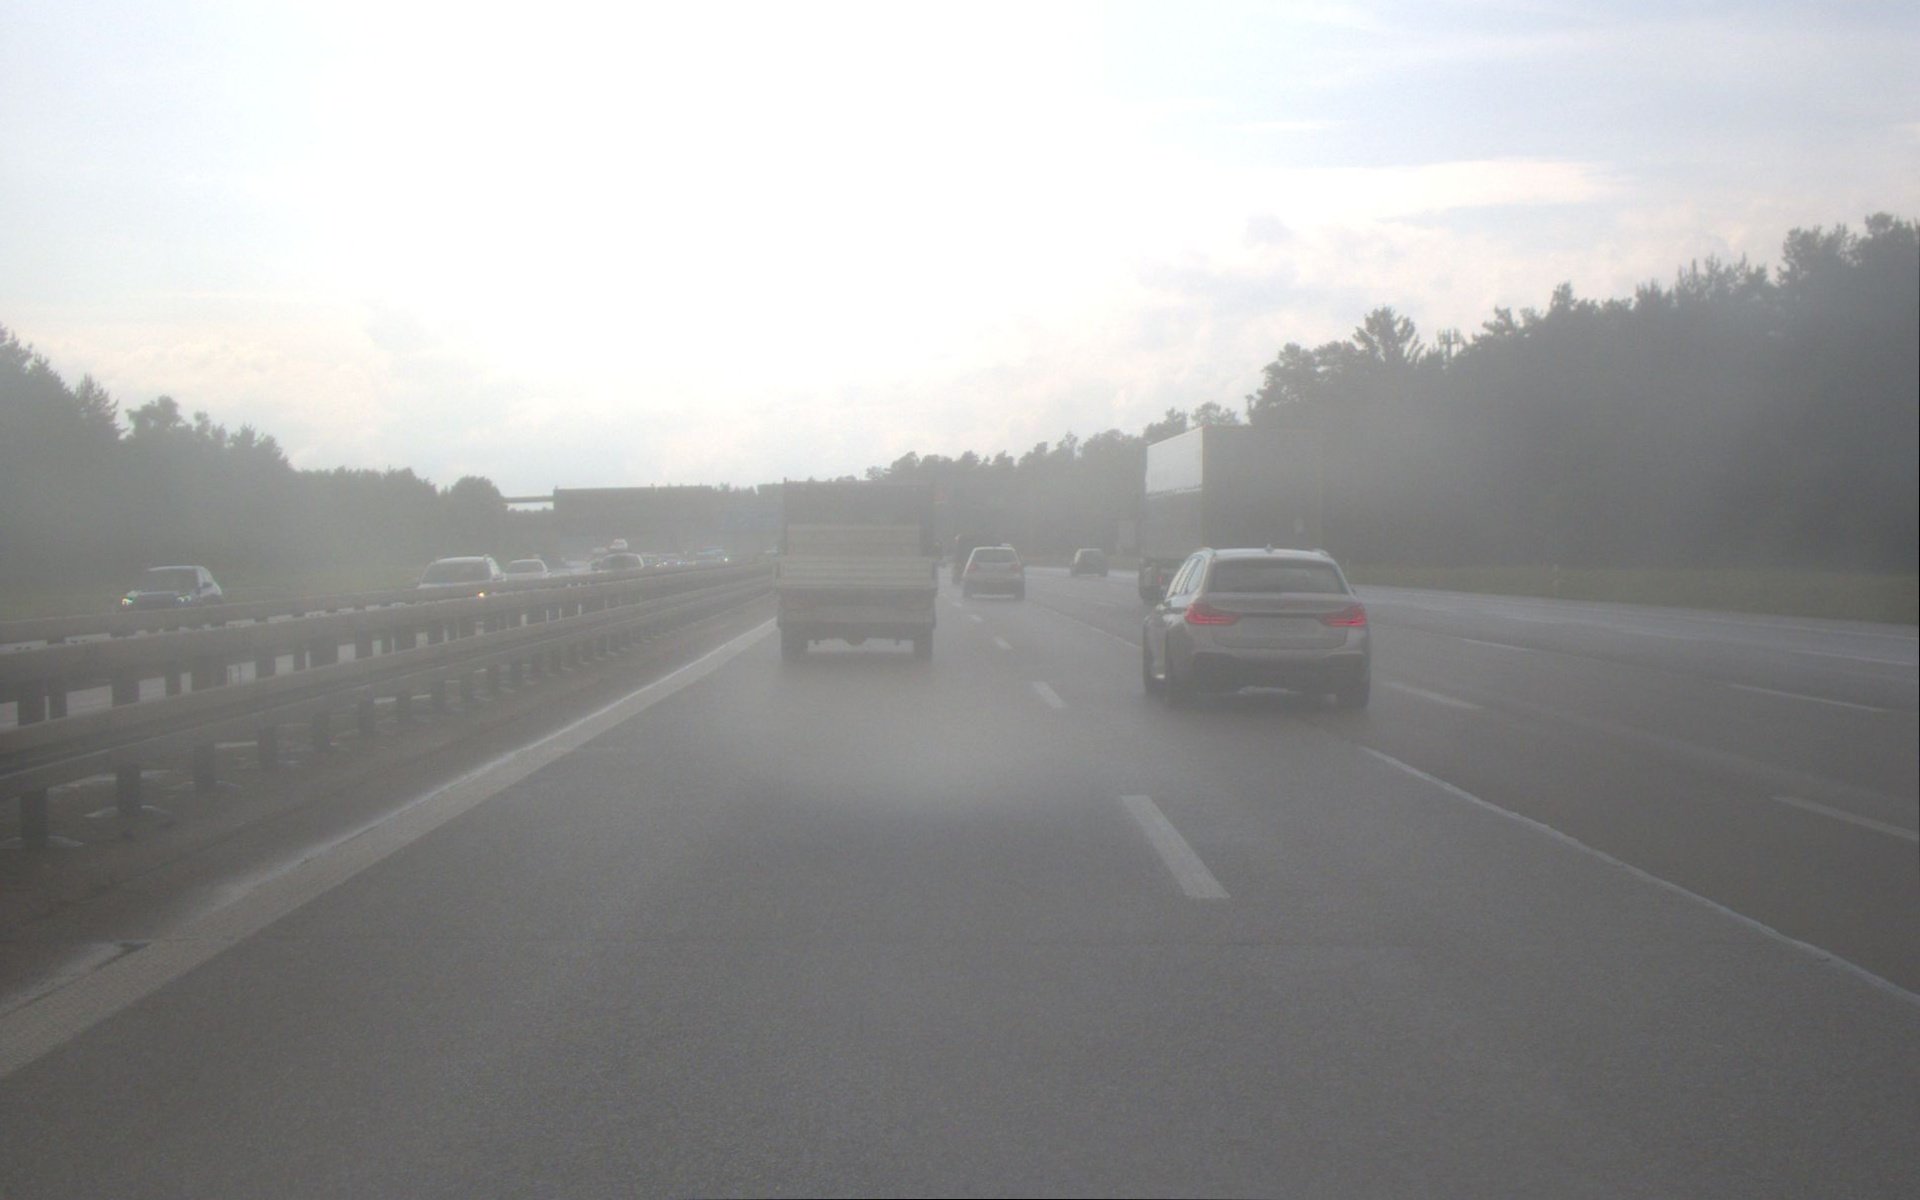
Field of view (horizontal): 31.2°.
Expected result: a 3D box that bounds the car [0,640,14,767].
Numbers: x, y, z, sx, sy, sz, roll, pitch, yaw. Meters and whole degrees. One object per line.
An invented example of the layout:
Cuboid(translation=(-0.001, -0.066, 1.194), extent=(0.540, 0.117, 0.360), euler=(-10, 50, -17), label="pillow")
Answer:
Cuboid(translation=(-10.453, 1.107, 32.907), extent=(1.694, 1.256, 4.063), euler=(-2, 1, -1), label="car")

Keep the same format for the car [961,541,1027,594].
Cuboid(translation=(0.969, -0.946, 98.723), extent=(1.831, 1.461, 4.000), euler=(0, 1, 0), label="car")

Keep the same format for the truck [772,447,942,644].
Cuboid(translation=(-1.368, -0.734, 45.910), extent=(2.137, 2.480, 5.313), euler=(0, 1, -1), label="truck")

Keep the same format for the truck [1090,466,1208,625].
Cuboid(translation=(4.682, -1.368, 85.978), extent=(2.293, 3.854, 5.393), euler=(0, 1, -4), label="truck")

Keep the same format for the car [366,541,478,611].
Cuboid(translation=(-10.895, -0.514, 69.833), extent=(1.693, 1.371, 4.000), euler=(0, 1, -1), label="car")

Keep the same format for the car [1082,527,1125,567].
Cuboid(translation=(7.455, -2.767, 178.626), extent=(1.993, 2.007, 4.000), euler=(1, 1, -1), label="car")

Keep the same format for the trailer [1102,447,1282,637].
Cuboid(translation=(5.148, -1.314, 78.950), extent=(2.323, 3.988, 13.414), euler=(0, 1, -4), label="trailer")

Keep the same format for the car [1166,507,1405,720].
Cuboid(translation=(3.031, 0.071, 32.969), extent=(2.078, 1.878, 5.011), euler=(0, 1, 3), label="car")

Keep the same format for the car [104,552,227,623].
Cuboid(translation=(-19.139, -0.316, 82.997), extent=(1.900, 1.542, 4.513), euler=(-3, 1, -1), label="car")
